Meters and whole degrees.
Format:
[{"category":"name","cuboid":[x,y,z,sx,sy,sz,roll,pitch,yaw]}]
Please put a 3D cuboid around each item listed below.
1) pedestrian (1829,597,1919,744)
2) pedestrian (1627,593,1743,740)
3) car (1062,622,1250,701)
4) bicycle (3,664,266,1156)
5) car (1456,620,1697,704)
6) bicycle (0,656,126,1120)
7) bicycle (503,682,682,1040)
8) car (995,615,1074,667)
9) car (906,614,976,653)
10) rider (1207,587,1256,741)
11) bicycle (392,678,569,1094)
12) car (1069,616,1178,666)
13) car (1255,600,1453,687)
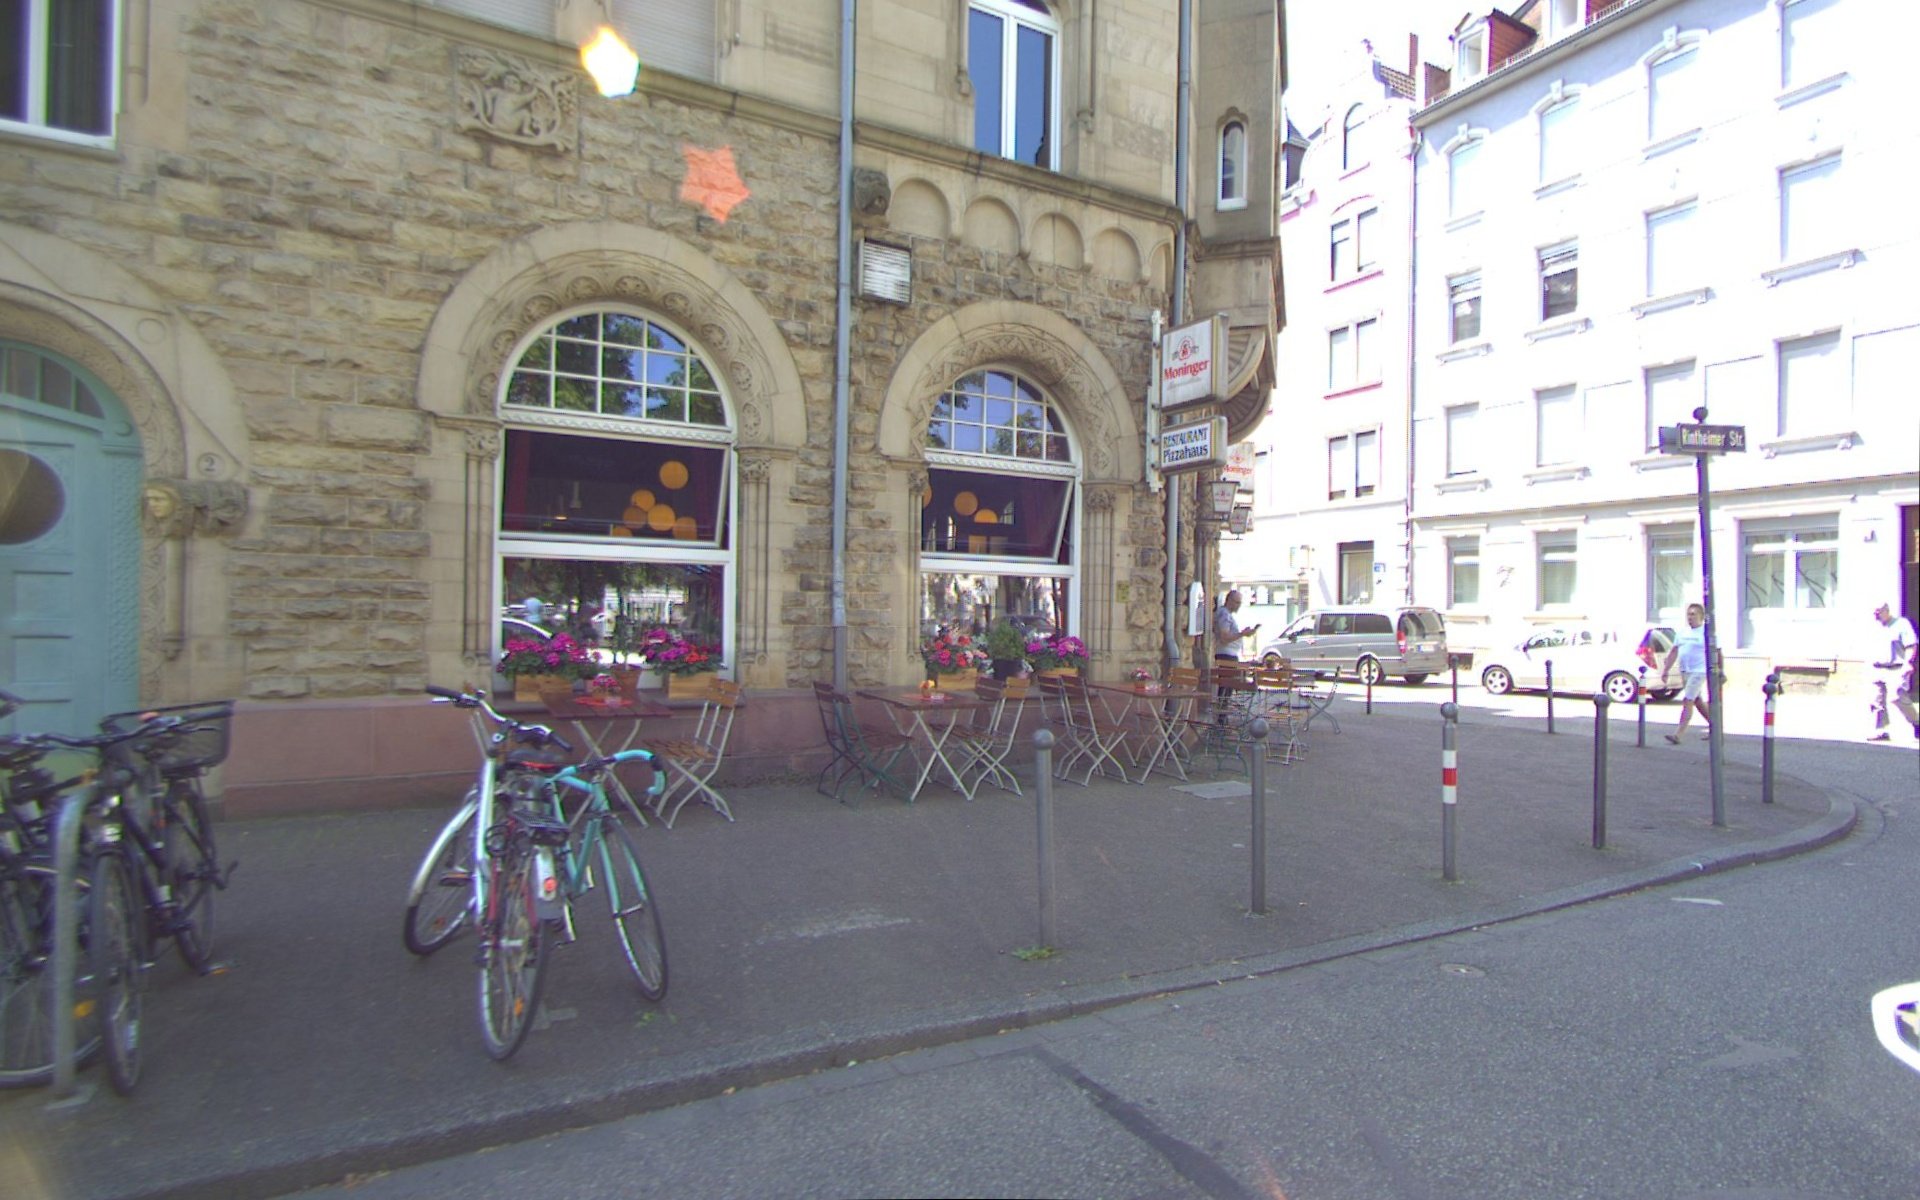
[{"category":"pedestrian","cuboid":[12.200,0.898,13.113,0.943,1.838,0.902,1,-1,-12]},{"category":"pedestrian","cuboid":[9.727,0.883,13.511,0.917,1.914,0.852,1,-1,-4]},{"category":"car","cuboid":[3.889,1.220,20.507,1.702,1.444,3.816,3,-3,-29]},{"category":"bicycle","cuboid":[-2.814,0.869,3.578,0.431,1.145,1.984,1,0,-31]},{"category":"car","cuboid":[12.891,1.239,21.271,1.785,1.582,4.029,1,-2,-29]},{"category":"bicycle","cuboid":[-3.251,0.850,3.377,0.390,1.145,1.961,1,2,-31]},{"category":"bicycle","cuboid":[-1.526,0.918,4.036,0.363,1.021,1.516,1,1,-31]},{"category":"car","cuboid":[2.883,1.579,39.494,1.529,1.910,3.335,0,-1,-29]},{"category":"car","cuboid":[-0.941,1.537,47.365,1.701,1.753,3.816,0,-1,-29]},{"category":"rider","cuboid":[3.148,0.729,11.614,0.530,1.719,0.642,0,-1,17]},{"category":"bicycle","cuboid":[-1.858,0.904,3.778,0.409,1.059,1.695,1,1,-31]},{"category":"car","cuboid":[5.552,1.371,34.573,1.701,1.603,3.816,0,-1,-29]},{"category":"car","cuboid":[10.071,1.070,26.071,1.854,2.024,4.687,-1,-1,-28]}]
